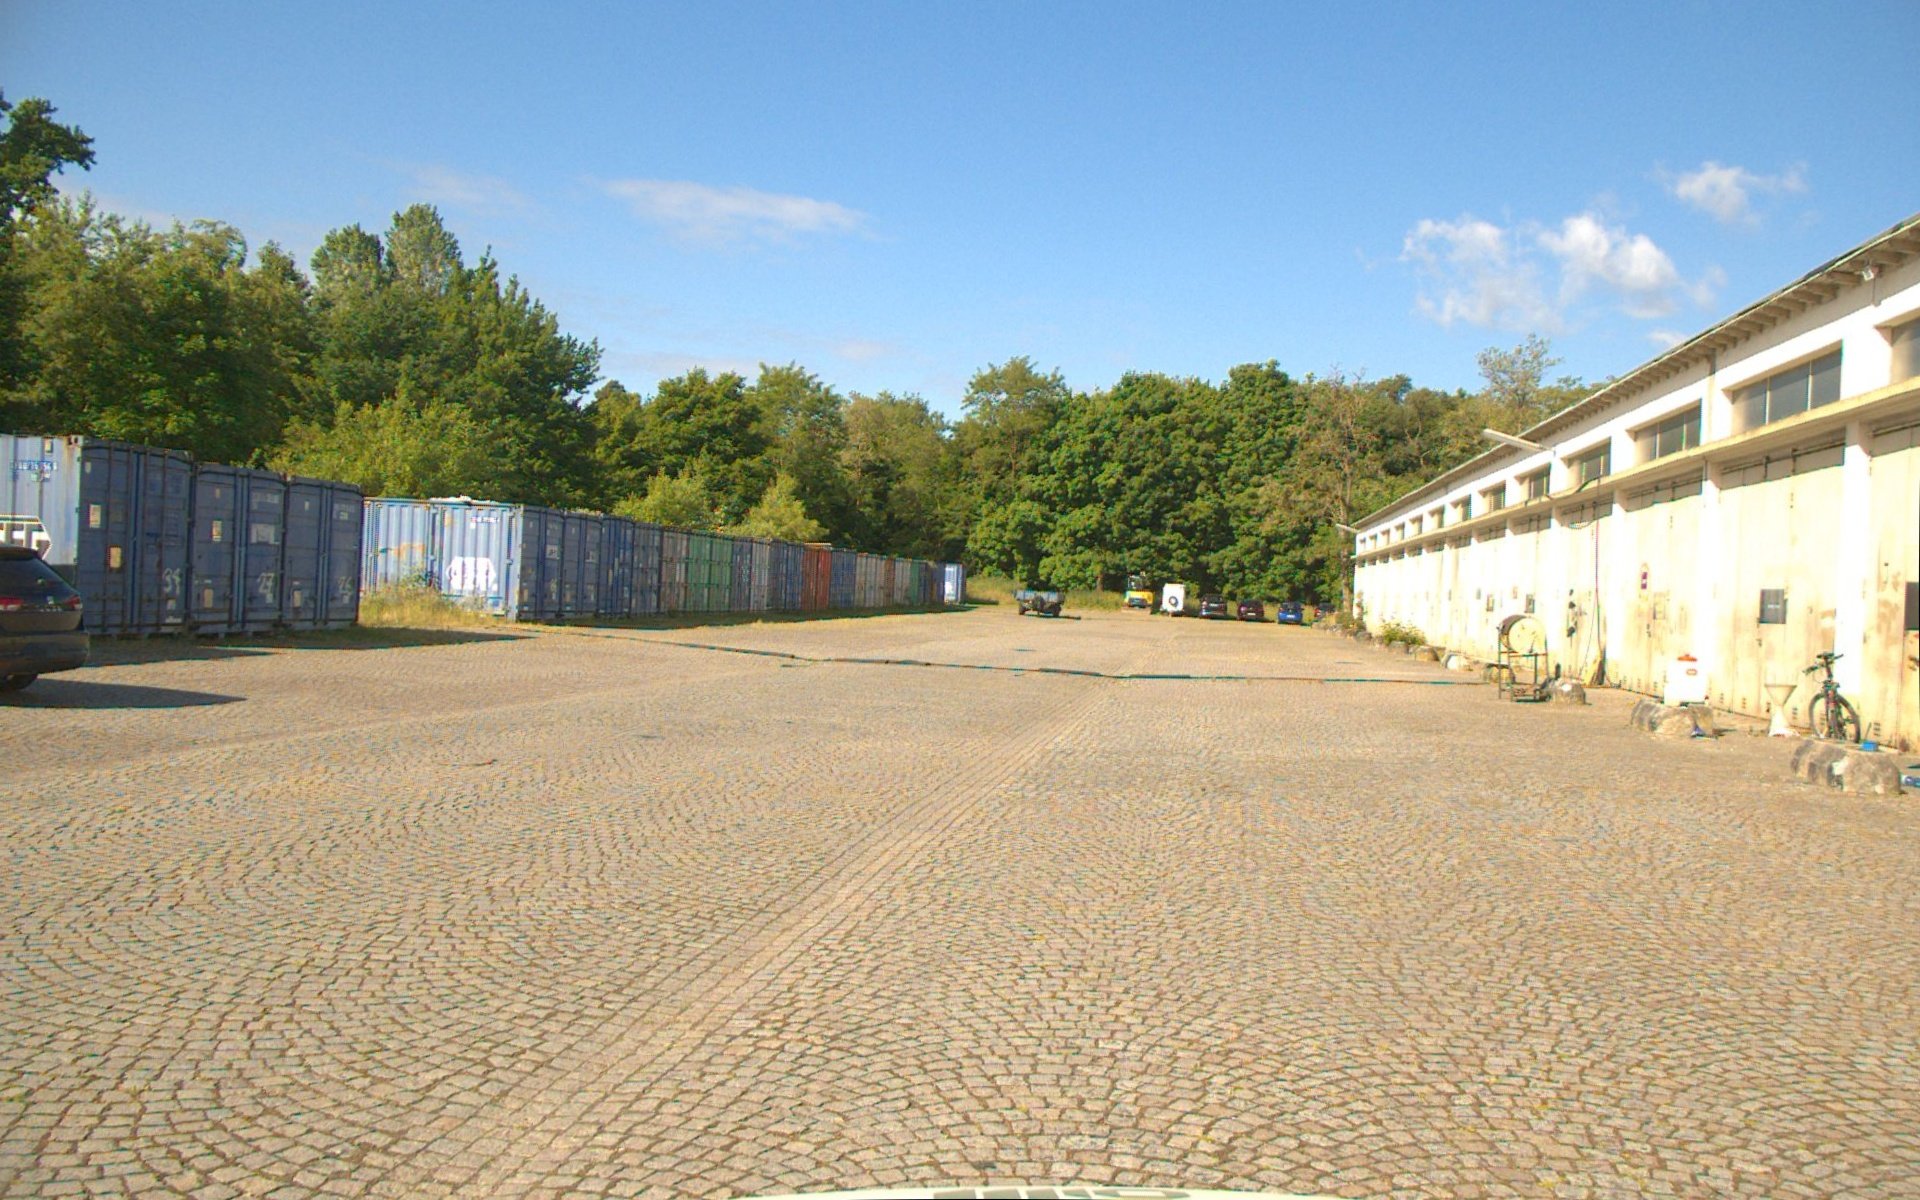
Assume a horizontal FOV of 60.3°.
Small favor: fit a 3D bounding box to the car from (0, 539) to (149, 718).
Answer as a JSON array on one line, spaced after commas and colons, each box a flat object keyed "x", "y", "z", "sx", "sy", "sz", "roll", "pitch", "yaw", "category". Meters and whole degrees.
[{"x": -9.880, "y": 0.118, "z": 14.904, "sx": 4.162, "sy": 1.474, "sz": 1.933, "roll": 3, "pitch": 0, "yaw": 7, "category": "car"}]

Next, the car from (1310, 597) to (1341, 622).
[{"x": 24.386, "y": 0.612, "z": 110.195, "sx": 1.708, "sy": 1.461, "sz": 4.186, "roll": 4, "pitch": 2, "yaw": 16, "category": "car"}]

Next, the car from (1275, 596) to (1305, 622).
[{"x": 21.799, "y": 0.560, "z": 109.178, "sx": 1.707, "sy": 1.461, "sz": 4.187, "roll": 4, "pitch": 2, "yaw": 14, "category": "car"}]

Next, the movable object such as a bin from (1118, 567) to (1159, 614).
[{"x": 12.247, "y": -0.721, "z": 113.388, "sx": 2.257, "sy": 2.946, "sz": 5.757, "roll": 4, "pitch": 2, "yaw": 9, "category": "movable object such as a bin"}]

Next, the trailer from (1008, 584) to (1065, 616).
[{"x": 4.395, "y": -0.016, "z": 93.667, "sx": 2.648, "sy": 1.491, "sz": 6.253, "roll": 4, "pitch": 2, "yaw": 7, "category": "trailer"}]

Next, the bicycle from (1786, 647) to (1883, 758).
[{"x": 9.524, "y": 1.090, "z": 18.062, "sx": 0.651, "sy": 1.086, "sz": 1.824, "roll": 3, "pitch": 0, "yaw": 20, "category": "bicycle"}]

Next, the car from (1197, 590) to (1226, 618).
[{"x": 16.677, "y": 0.229, "z": 109.677, "sx": 1.824, "sy": 1.616, "sz": 4.300, "roll": 4, "pitch": 2, "yaw": 8, "category": "car"}]

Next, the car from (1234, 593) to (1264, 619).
[{"x": 19.138, "y": 0.376, "z": 109.660, "sx": 1.824, "sy": 1.495, "sz": 4.300, "roll": 4, "pitch": 2, "yaw": 8, "category": "car"}]

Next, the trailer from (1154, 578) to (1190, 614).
[{"x": 14.446, "y": -0.323, "z": 112.438, "sx": 2.147, "sy": 2.130, "sz": 5.756, "roll": 4, "pitch": 2, "yaw": 8, "category": "trailer"}]
